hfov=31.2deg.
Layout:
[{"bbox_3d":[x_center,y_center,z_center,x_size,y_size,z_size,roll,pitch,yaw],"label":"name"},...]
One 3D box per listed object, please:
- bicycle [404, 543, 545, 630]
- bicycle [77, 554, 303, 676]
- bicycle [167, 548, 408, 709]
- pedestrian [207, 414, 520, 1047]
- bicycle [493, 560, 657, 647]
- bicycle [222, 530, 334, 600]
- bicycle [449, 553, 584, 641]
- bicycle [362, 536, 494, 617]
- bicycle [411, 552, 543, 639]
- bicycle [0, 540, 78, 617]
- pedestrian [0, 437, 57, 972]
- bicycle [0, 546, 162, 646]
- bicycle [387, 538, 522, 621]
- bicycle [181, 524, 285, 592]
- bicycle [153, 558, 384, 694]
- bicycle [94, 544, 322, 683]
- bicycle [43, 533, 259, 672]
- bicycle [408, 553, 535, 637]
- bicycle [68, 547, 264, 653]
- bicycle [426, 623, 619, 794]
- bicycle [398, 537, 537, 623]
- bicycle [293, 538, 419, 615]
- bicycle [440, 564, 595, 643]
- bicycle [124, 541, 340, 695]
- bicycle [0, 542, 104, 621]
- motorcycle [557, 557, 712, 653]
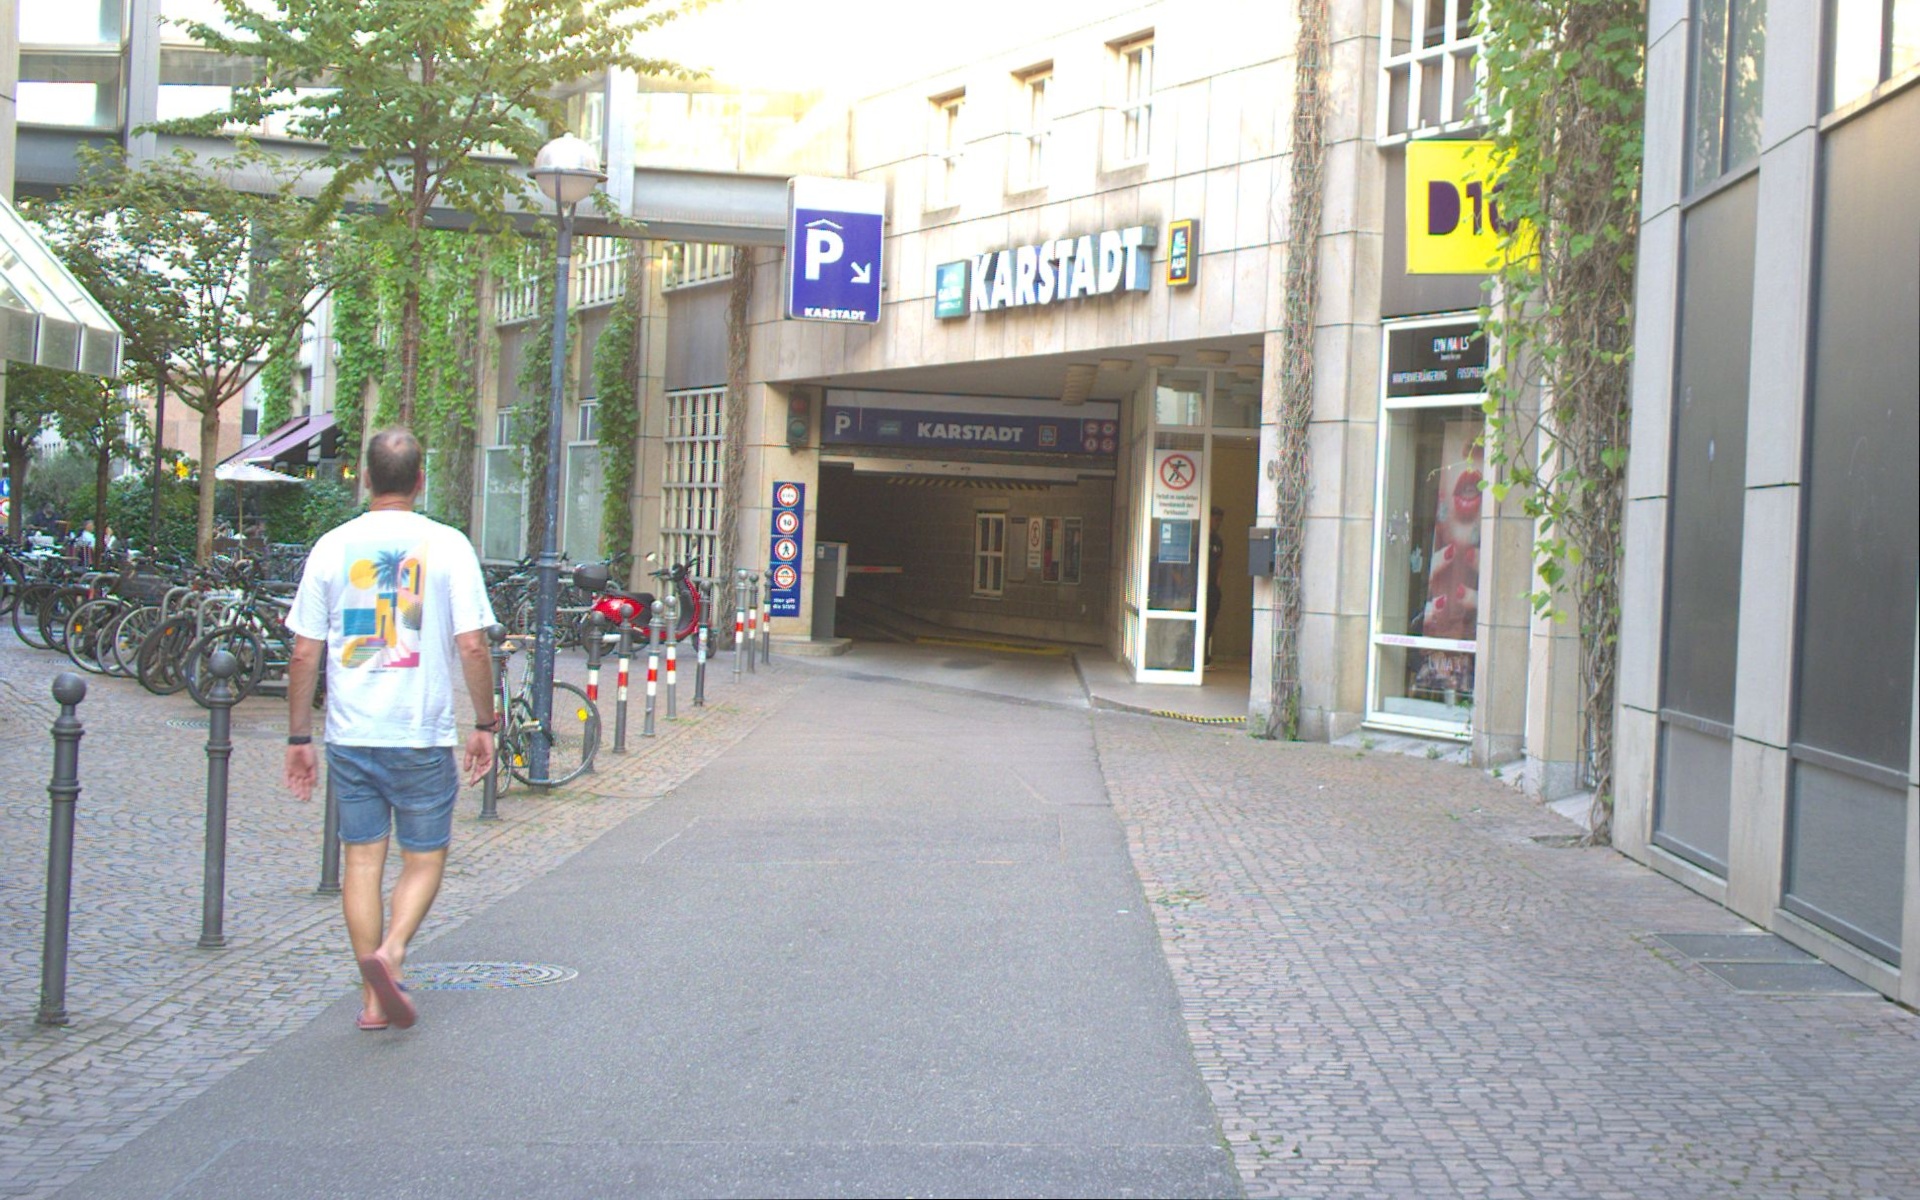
[{"bbox_3d":[-6.518,-0.183,46.200,1.773,1.110,0.543,1,1,-20],"label":"bicycle"},{"bbox_3d":[-6.878,0.137,30.726,1.893,1.048,0.534,1,1,-22],"label":"bicycle"},{"bbox_3d":[-5.290,0.226,27.050,1.766,1.226,0.534,1,1,-22],"label":"bicycle"},{"bbox_3d":[-1.790,0.371,10.429,0.742,1.816,0.878,2,1,0],"label":"pedestrian"},{"bbox_3d":[-4.570,0.043,40.826,1.847,0.978,0.464,1,1,-20],"label":"bicycle"},{"bbox_3d":[-11.430,-0.584,57.603,1.773,1.110,0.543,1,1,-17],"label":"bicycle"},{"bbox_3d":[-5.503,-0.039,42.639,1.539,1.045,0.575,1,1,-20],"label":"bicycle"},{"bbox_3d":[-7.666,-0.340,49.521,1.773,1.110,0.543,1,1,-20],"label":"bicycle"},{"bbox_3d":[-6.129,-0.055,43.626,1.539,1.045,0.575,1,1,-20],"label":"bicycle"},{"bbox_3d":[-12.862,-0.299,46.412,1.779,1.016,0.481,1,1,-22],"label":"bicycle"},{"bbox_3d":[-3.586,0.341,11.433,0.785,1.789,0.972,2,1,6],"label":"pedestrian"},{"bbox_3d":[-9.559,-0.042,36.979,1.824,1.039,0.534,1,1,-22],"label":"bicycle"},{"bbox_3d":[-7.128,-0.288,48.483,1.773,1.110,0.543,1,1,-20],"label":"bicycle"},{"bbox_3d":[-13.281,-0.775,62.820,1.773,1.186,0.586,1,1,-20],"label":"bicycle"},{"bbox_3d":[-5.879,0.223,29.229,1.836,1.118,0.534,1,1,-22],"label":"bicycle"},{"bbox_3d":[-6.601,0.124,30.192,1.872,1.173,0.534,1,1,-22],"label":"bicycle"},{"bbox_3d":[-7.390,0.023,31.405,1.833,1.221,0.534,1,1,-22],"label":"bicycle"},{"bbox_3d":[-6.403,-0.068,45.035,1.539,1.045,0.575,1,1,-20],"label":"bicycle"},{"bbox_3d":[-8.124,0.005,35.201,1.876,1.039,0.534,1,1,-22],"label":"bicycle"},{"bbox_3d":[-2.606,0.627,20.627,0.493,0.935,1.658,4,1,15],"label":"bicycle"},{"bbox_3d":[-6.773,-0.277,47.276,1.773,1.110,0.543,2,1,-20],"label":"bicycle"},{"bbox_3d":[-9.100,-0.357,51.798,1.773,1.110,0.543,1,1,-20],"label":"bicycle"},{"bbox_3d":[-5.364,0.046,41.688,1.773,0.901,0.464,1,1,-20],"label":"bicycle"},{"bbox_3d":[-5.998,0.153,28.337,1.653,1.226,0.534,1,1,-22],"label":"bicycle"},{"bbox_3d":[-12.292,-0.245,45.568,1.779,1.016,0.481,1,1,-22],"label":"bicycle"},{"bbox_3d":[-3.708,0.056,39.188,1.662,1.047,0.464,1,1,-20],"label":"motorcycle"}]
